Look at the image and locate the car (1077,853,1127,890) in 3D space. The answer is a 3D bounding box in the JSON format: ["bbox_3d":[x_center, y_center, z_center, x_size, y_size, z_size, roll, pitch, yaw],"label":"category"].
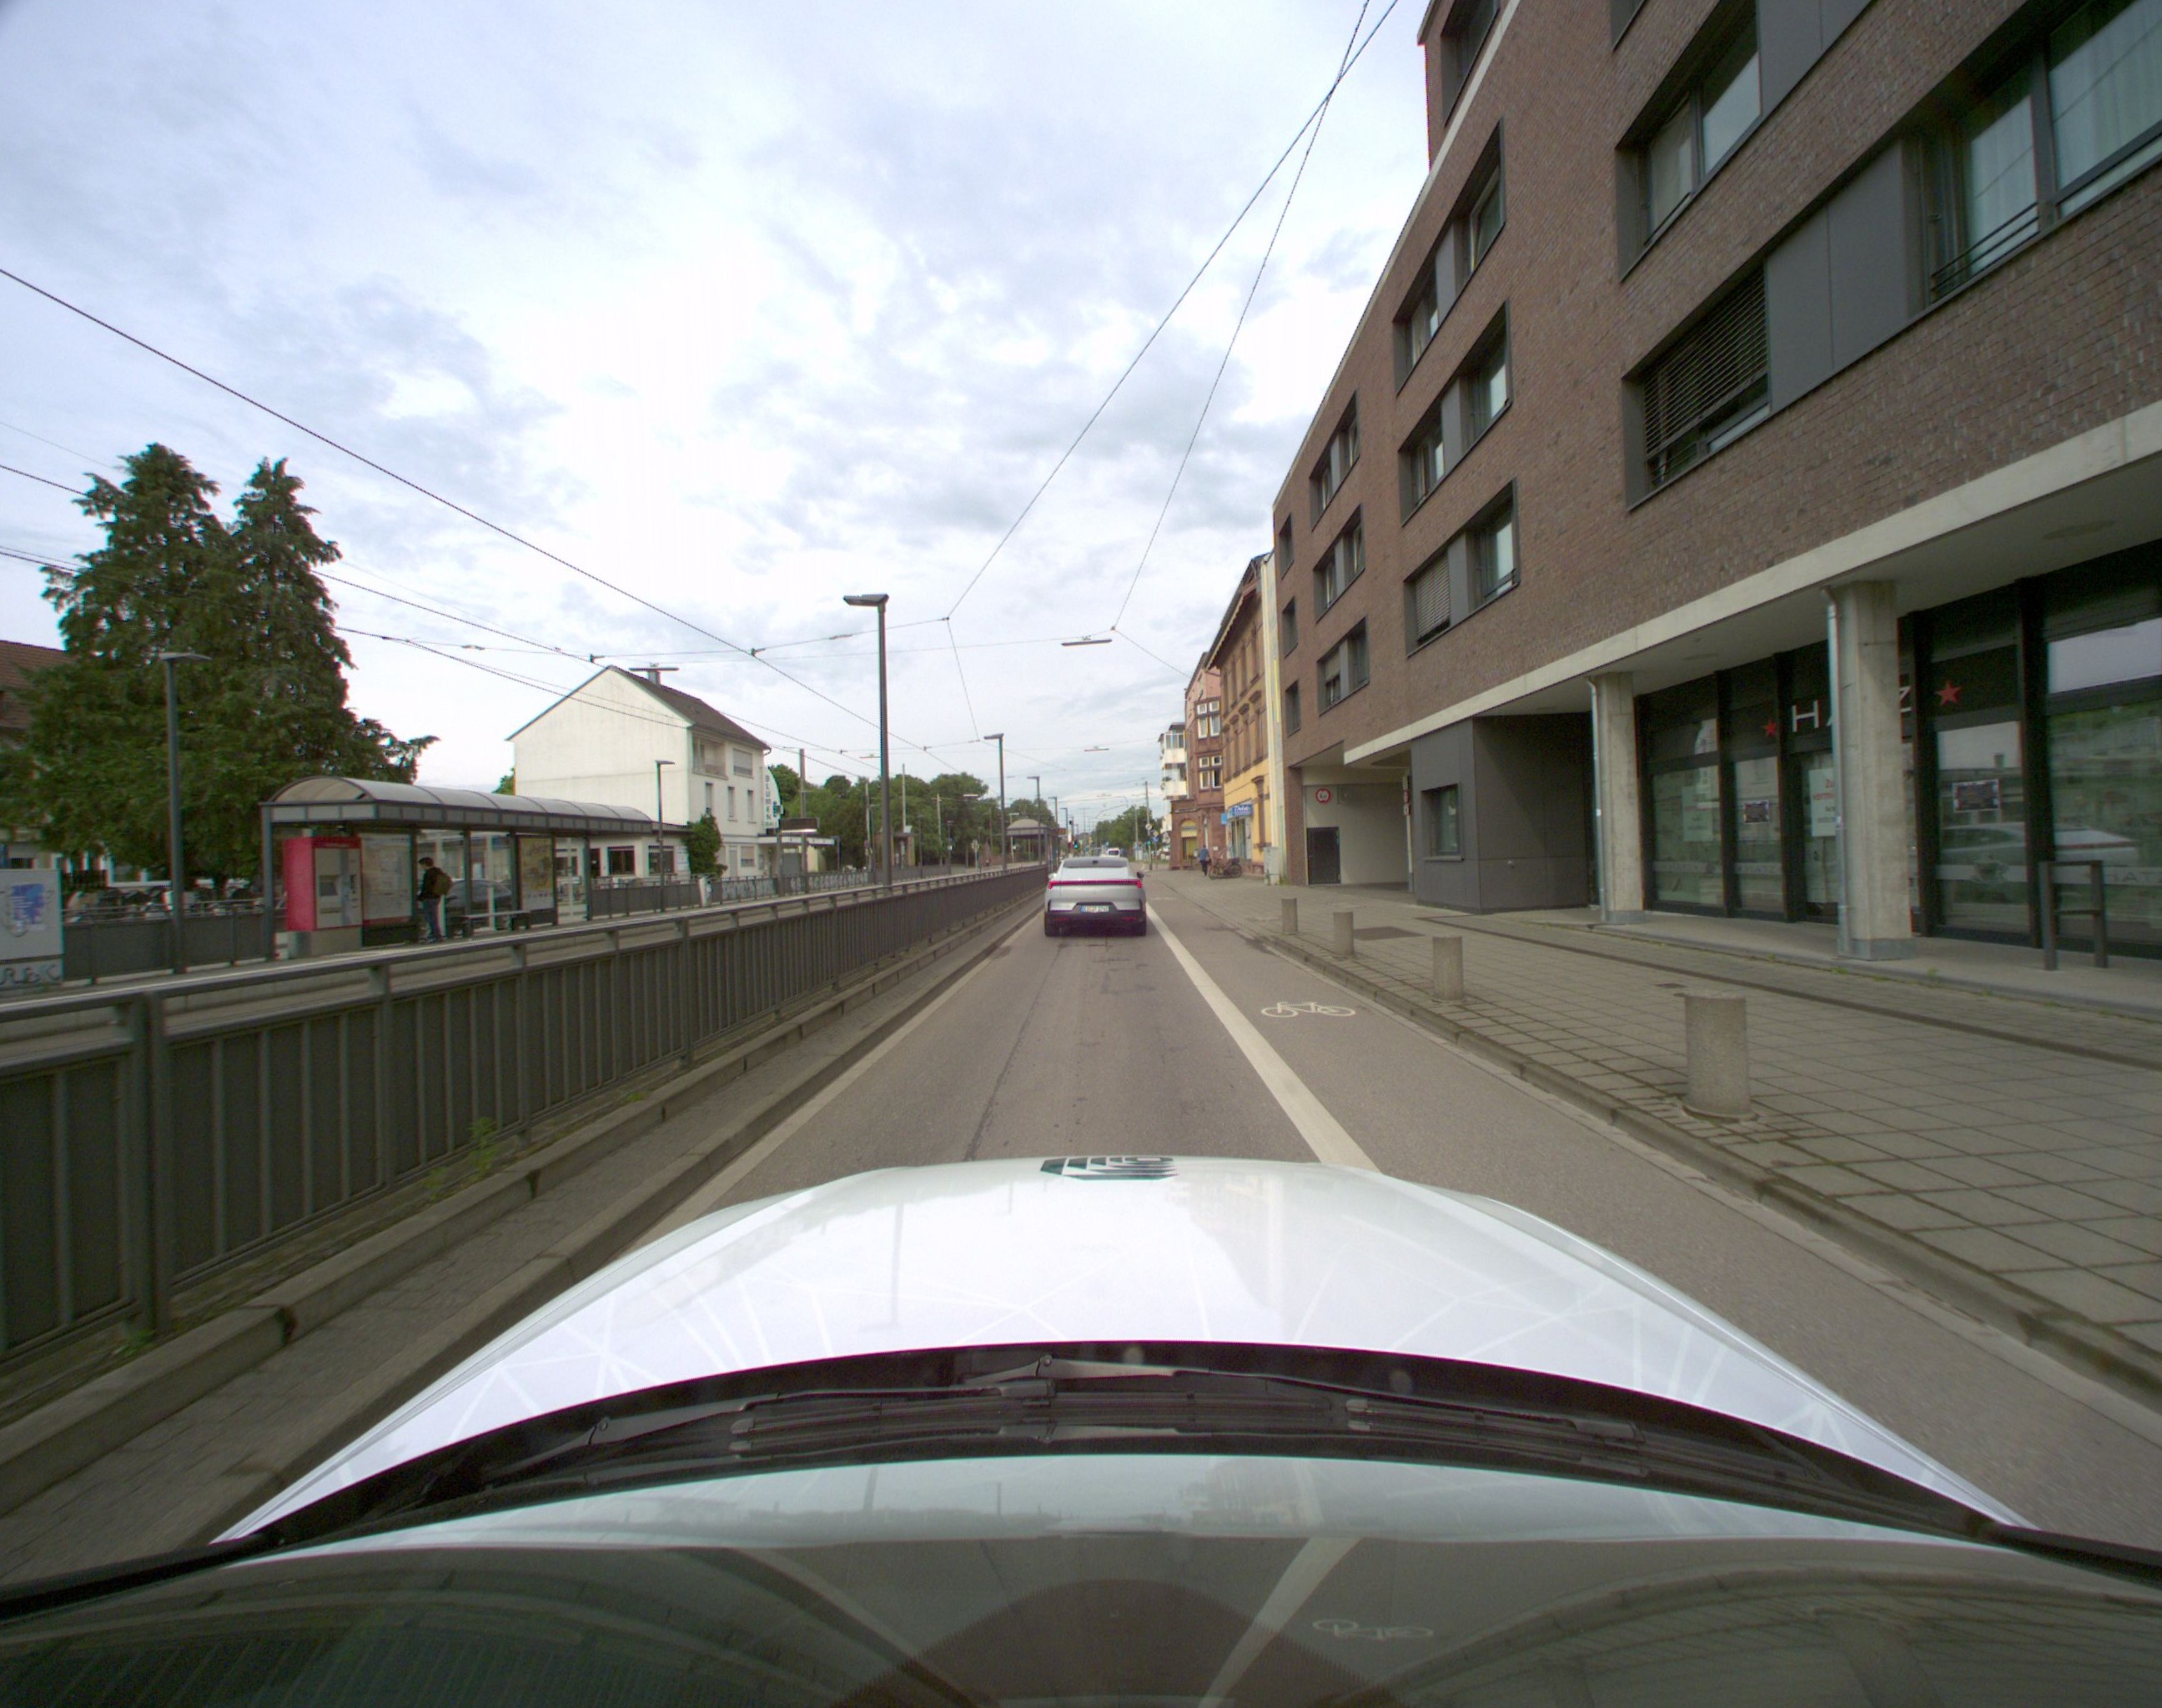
[{"bbox_3d":[0.880,0.710,35.122,1.987,1.420,4.000,-3,0,1],"label":"car"}]

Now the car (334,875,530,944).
[{"bbox_3d":[-15.600,1.267,19.885,1.760,1.451,3.994,-2,-1,-4],"label":"car"}]

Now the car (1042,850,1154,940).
[{"bbox_3d":[0.225,0.757,16.669,1.994,1.581,3.996,-1,-1,-3],"label":"car"}]

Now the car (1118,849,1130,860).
[{"bbox_3d":[10.611,0.110,200.756,2.796,2.505,5.725,-1,-1,2],"label":"car"}]

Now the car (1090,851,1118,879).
[{"bbox_3d":[1.495,0.707,51.506,1.674,1.687,3.825,-1,-1,2],"label":"car"}]

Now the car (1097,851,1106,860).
[{"bbox_3d":[4.652,0.259,184.799,1.986,2.013,4.002,-2,0,2],"label":"car"}]

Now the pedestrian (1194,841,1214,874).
[{"bbox_3d":[7.248,0.216,47.938,0.957,1.850,0.976,-4,0,2],"label":"pedestrian"}]

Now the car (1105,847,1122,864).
[{"bbox_3d":[4.750,0.208,119.701,2.220,2.402,5.119,-1,-1,-2],"label":"car"}]

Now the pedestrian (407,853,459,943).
[{"bbox_3d":[-12.291,0.815,15.466,0.700,1.664,0.611,-1,-1,-32],"label":"pedestrian"}]

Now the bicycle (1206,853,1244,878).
[{"bbox_3d":[7.284,0.593,41.213,1.771,1.129,0.642,-5,0,0],"label":"bicycle"}]

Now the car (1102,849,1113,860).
[{"bbox_3d":[5.034,0.172,156.381,1.986,2.013,4.002,-2,0,2],"label":"car"}]
